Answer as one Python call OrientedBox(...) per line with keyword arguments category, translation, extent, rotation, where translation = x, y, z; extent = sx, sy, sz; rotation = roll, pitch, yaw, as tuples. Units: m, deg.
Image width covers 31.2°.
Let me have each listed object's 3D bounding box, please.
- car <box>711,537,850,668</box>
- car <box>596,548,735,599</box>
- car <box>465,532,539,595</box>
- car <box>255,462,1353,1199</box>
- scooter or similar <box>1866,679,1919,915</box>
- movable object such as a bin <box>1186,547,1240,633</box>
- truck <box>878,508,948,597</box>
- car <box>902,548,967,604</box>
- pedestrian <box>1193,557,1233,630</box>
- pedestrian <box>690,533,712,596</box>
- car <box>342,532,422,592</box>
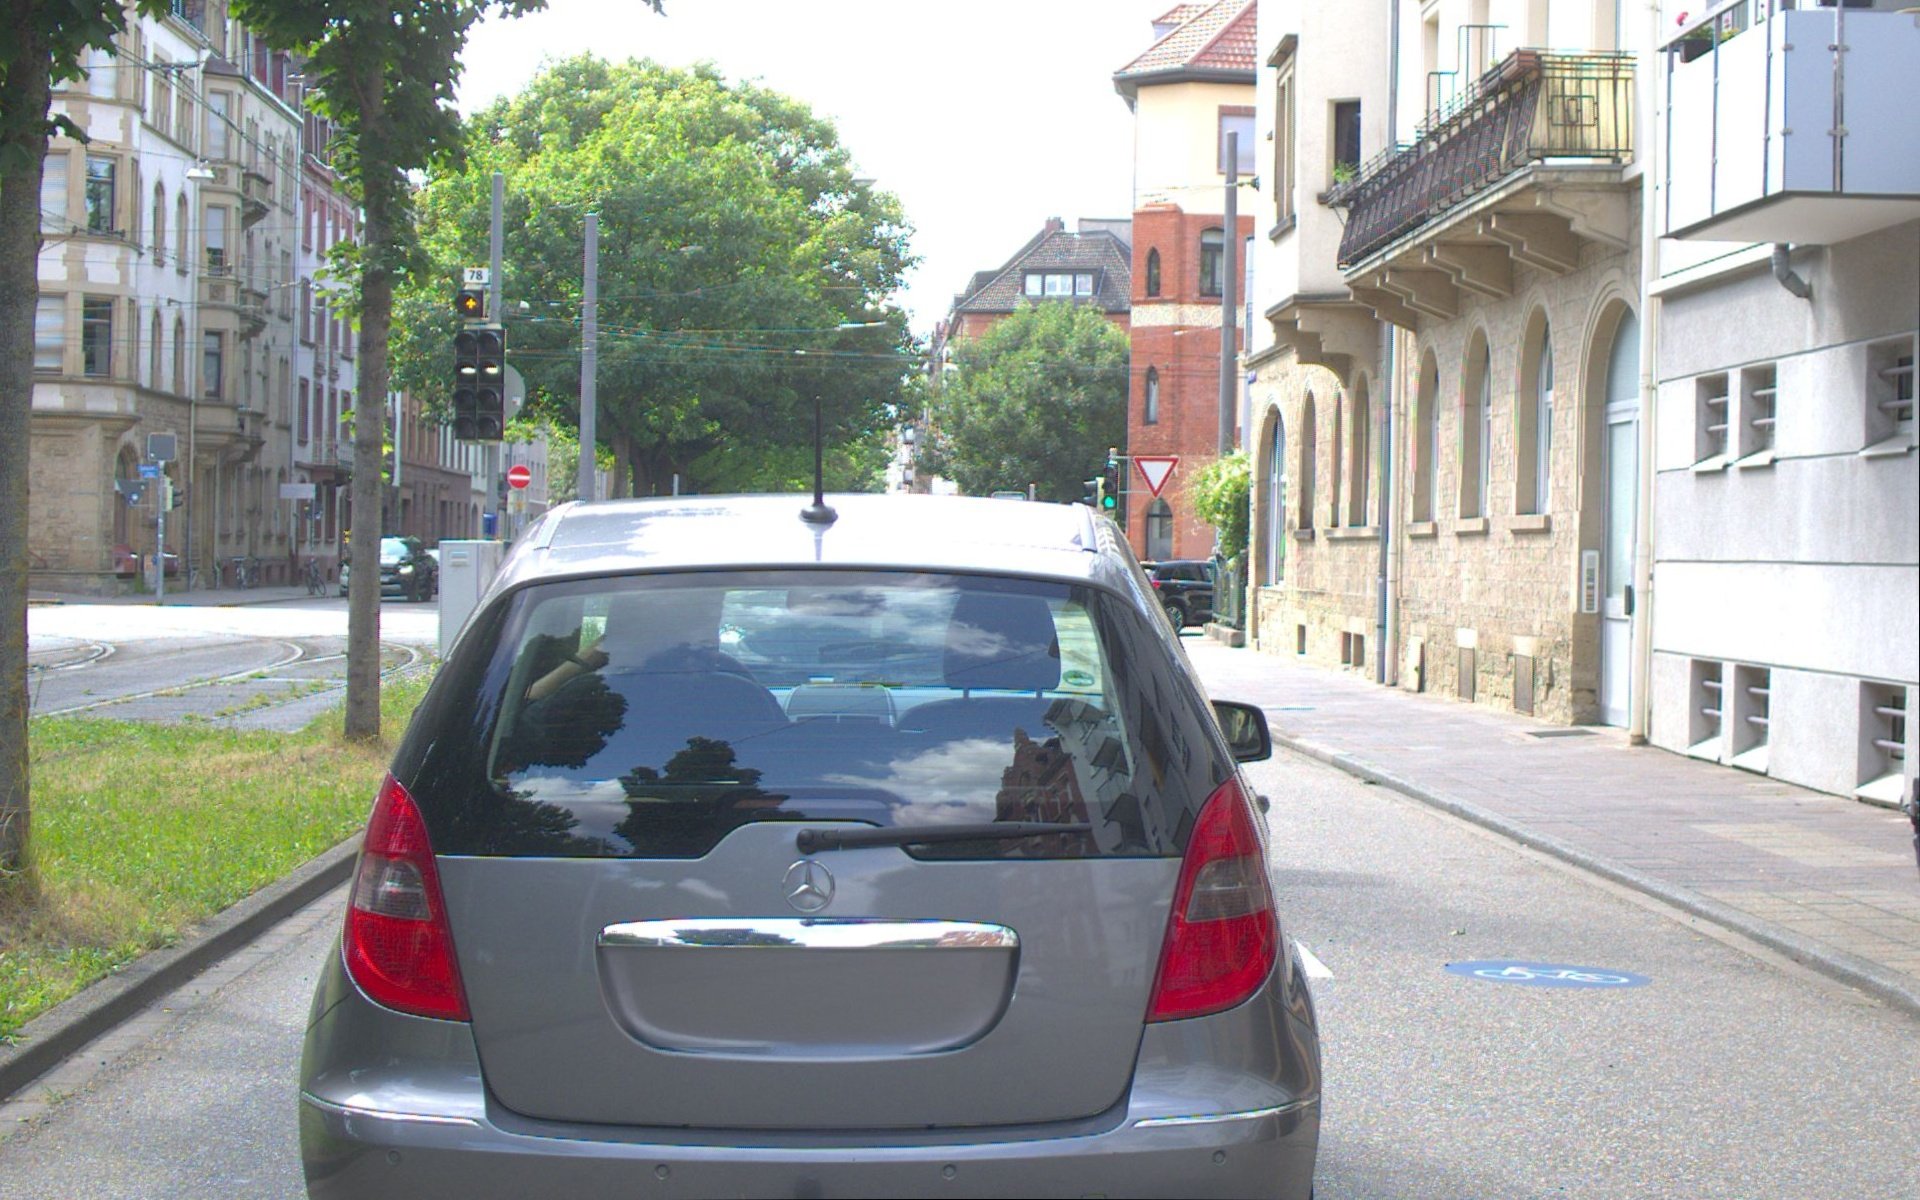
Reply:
OrientedBox(category="car", translation=(-2.395, 0.008, 46.641), extent=(1.722, 1.700, 3.677), rotation=(1, 1, -1))
OrientedBox(category="car", translation=(-8.462, -0.763, 98.578), extent=(1.969, 1.334, 3.999), rotation=(1, 1, -40))
OrientedBox(category="car", translation=(-12.938, -1.039, 97.225), extent=(1.993, 1.722, 4.001), rotation=(1, 1, -7))
OrientedBox(category="car", translation=(-0.267, 0.568, 7.266), extent=(1.722, 1.600, 3.677), rotation=(1, 1, -1))
OrientedBox(category="scooter or similar", translation=(4.501, 0.870, 15.410), extent=(0.592, 0.998, 0.906), rotation=(-3, 1, -1))
OrientedBox(category="movable object such as a bin", translation=(4.387, -0.178, 59.648), extent=(0.714, 1.467, 0.983), rotation=(0, 1, -10))
OrientedBox(category="truck", translation=(-1.585, -1.618, 116.892), extent=(2.123, 2.960, 4.000), rotation=(1, 1, 2))
OrientedBox(category="car", translation=(-0.763, -0.749, 103.972), extent=(1.752, 1.627, 3.499), rotation=(1, 1, 2))
OrientedBox(category="pedestrian", translation=(5.834, -0.156, 79.275), extent=(0.869, 1.651, 0.736), rotation=(1, 1, 3))
OrientedBox(category="pedestrian", translation=(-7.072, -0.967, 93.919), extent=(0.493, 1.719, 0.654), rotation=(1, 1, -9))
OrientedBox(category="car", translation=(-16.060, -1.056, 95.686), extent=(1.993, 1.612, 4.001), rotation=(0, 1, -7))
